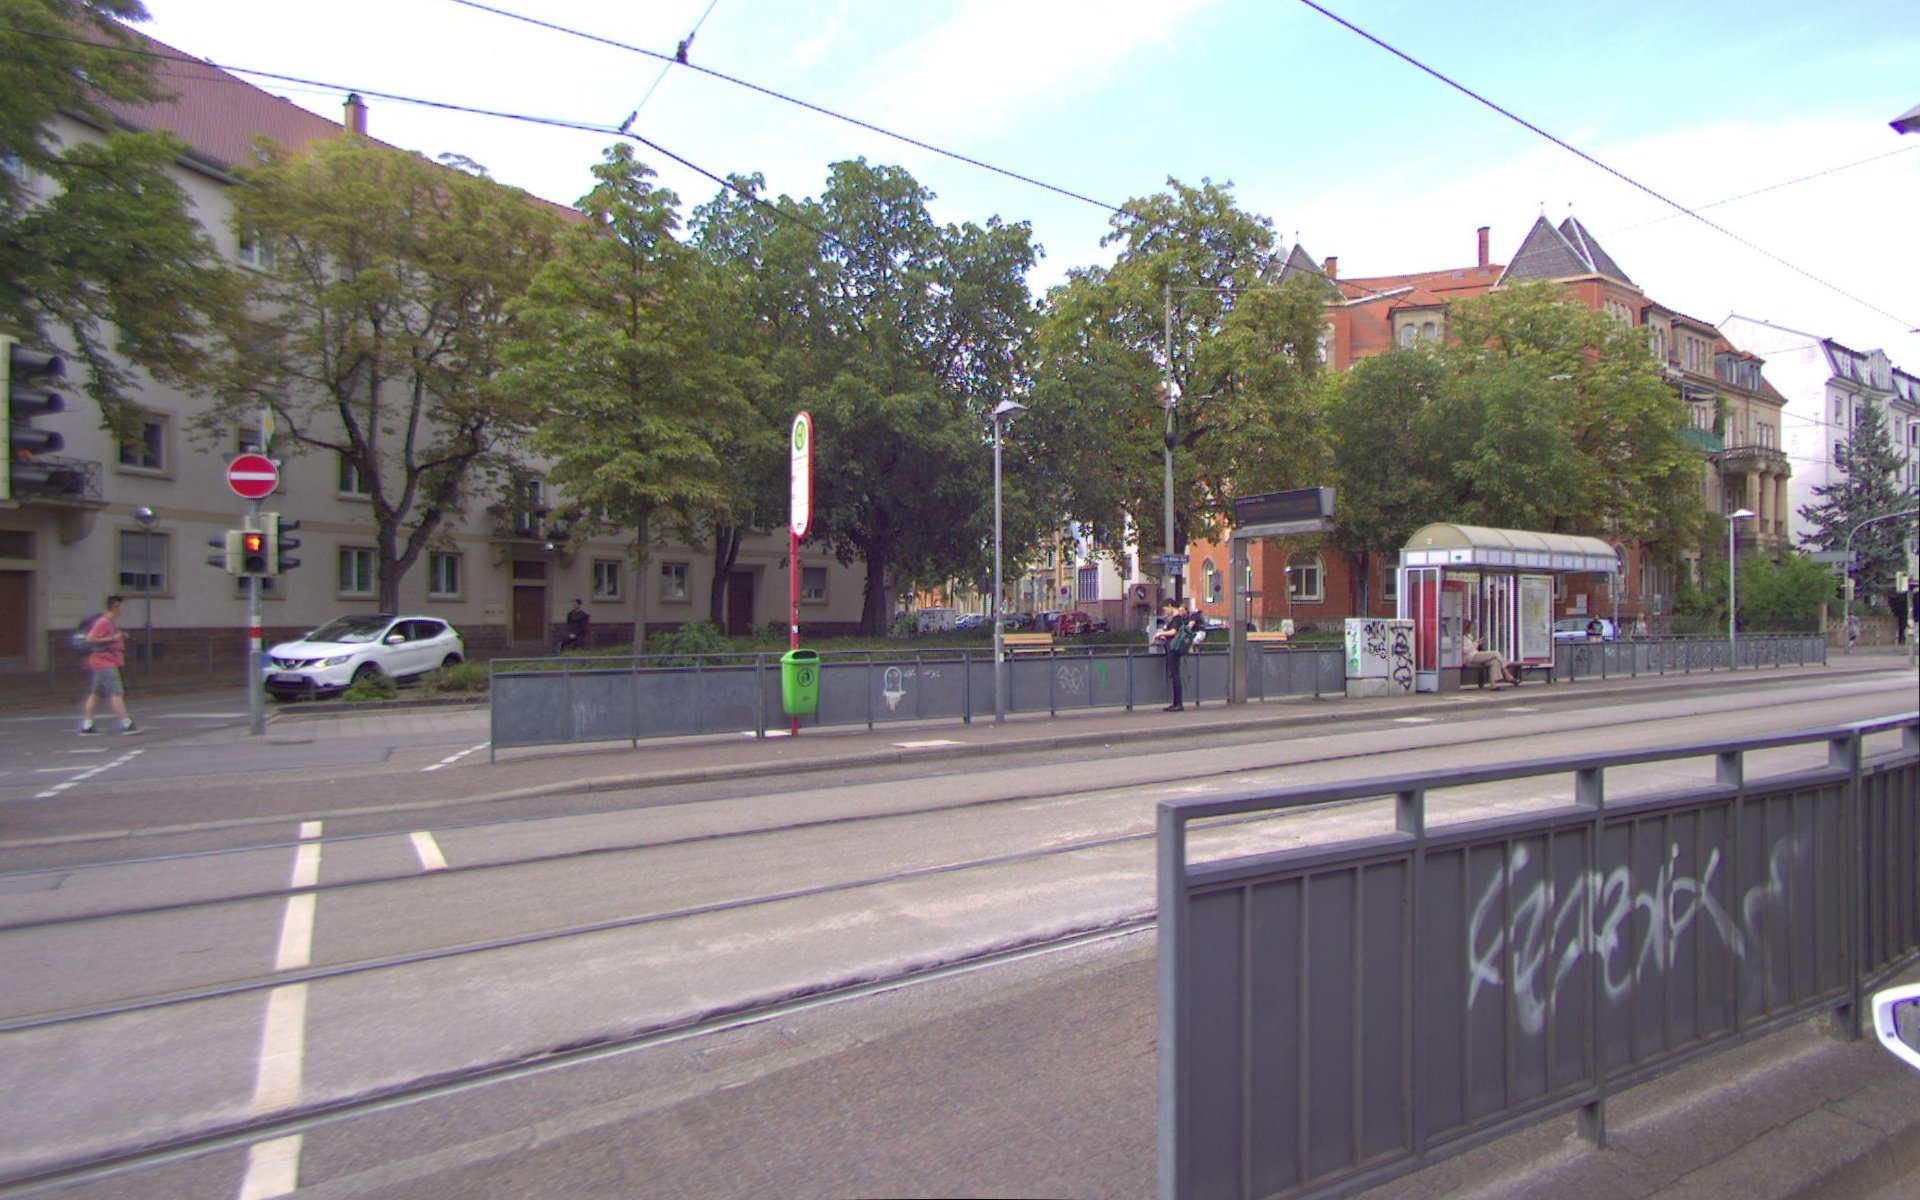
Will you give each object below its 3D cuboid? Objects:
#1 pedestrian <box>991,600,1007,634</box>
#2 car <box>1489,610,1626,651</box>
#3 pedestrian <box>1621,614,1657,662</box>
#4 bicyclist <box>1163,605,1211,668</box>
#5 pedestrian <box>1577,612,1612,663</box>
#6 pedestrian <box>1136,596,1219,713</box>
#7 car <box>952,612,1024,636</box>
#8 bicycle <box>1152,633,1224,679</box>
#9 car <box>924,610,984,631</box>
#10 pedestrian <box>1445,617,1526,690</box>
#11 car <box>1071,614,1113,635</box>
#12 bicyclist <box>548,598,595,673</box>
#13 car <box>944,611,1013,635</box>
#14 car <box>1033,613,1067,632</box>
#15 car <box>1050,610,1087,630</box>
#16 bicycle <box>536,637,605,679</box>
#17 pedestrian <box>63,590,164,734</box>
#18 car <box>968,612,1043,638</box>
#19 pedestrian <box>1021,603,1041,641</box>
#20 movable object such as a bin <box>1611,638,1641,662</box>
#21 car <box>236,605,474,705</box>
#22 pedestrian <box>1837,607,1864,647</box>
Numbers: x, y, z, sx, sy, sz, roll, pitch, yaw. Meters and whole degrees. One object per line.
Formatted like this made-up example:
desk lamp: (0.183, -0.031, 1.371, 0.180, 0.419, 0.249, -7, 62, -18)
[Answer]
pedestrian: (2.038, 0.873, 53.002, 0.671, 1.777, 0.731, 0, 0, -12)
car: (23.828, 1.184, 40.264, 4.260, 1.599, 2.213, 0, 0, 14)
pedestrian: (24.222, 1.346, 35.843, 0.738, 1.654, 0.862, 0, -1, -38)
bicyclist: (5.011, 0.790, 22.167, 0.826, 1.357, 0.657, 0, -1, -33)
pedestrian: (22.132, 1.300, 35.040, 0.726, 1.725, 0.826, 0, -1, -38)
pedestrian: (3.179, 0.768, 14.697, 0.835, 1.642, 0.845, 0, -1, -38)
car: (1.637, 1.400, 58.976, 3.929, 1.414, 1.812, 0, -1, -11)
bicycle: (5.038, 1.215, 22.175, 1.533, 0.961, 0.657, 0, -1, -33)
car: (-0.440, 1.426, 69.260, 3.929, 1.414, 1.812, 0, -1, -11)
pedestrian: (9.869, 0.982, 18.873, 0.977, 1.311, 1.050, 0, -1, -38)
car: (9.130, 1.672, 69.638, 1.783, 1.414, 3.994, 0, -1, -9)
bicyclist: (-9.528, 0.854, 24.647, 0.601, 1.799, 0.909, -1, -1, 30)
car: (1.114, 1.407, 61.475, 3.929, 1.414, 1.812, 0, -1, -11)
car: (7.150, 1.774, 80.002, 1.783, 1.414, 3.994, 0, -1, -9)
car: (8.074, 1.476, 75.069, 1.783, 1.414, 3.994, 0, -1, -9)
bicycle: (-9.531, 1.408, 24.630, 0.597, 0.949, 1.574, -1, -1, 30)
pedestrian: (-11.628, 0.828, 13.819, 0.821, 1.926, 0.730, 0, 0, -14)
car: (2.570, 1.399, 56.766, 3.929, 1.414, 1.812, 0, -1, -11)
pedestrian: (3.372, 1.056, 47.795, 0.720, 1.777, 0.751, 0, 0, -14)
movable object such as a bin: (23.813, 1.780, 35.915, 0.616, 0.810, 0.723, 0, -1, -38)
car: (-11.827, 1.079, 20.024, 1.803, 1.743, 4.163, 1, -3, 7)
pedestrian: (40.889, 1.244, 46.126, 0.826, 1.807, 0.726, 0, 0, -32)
